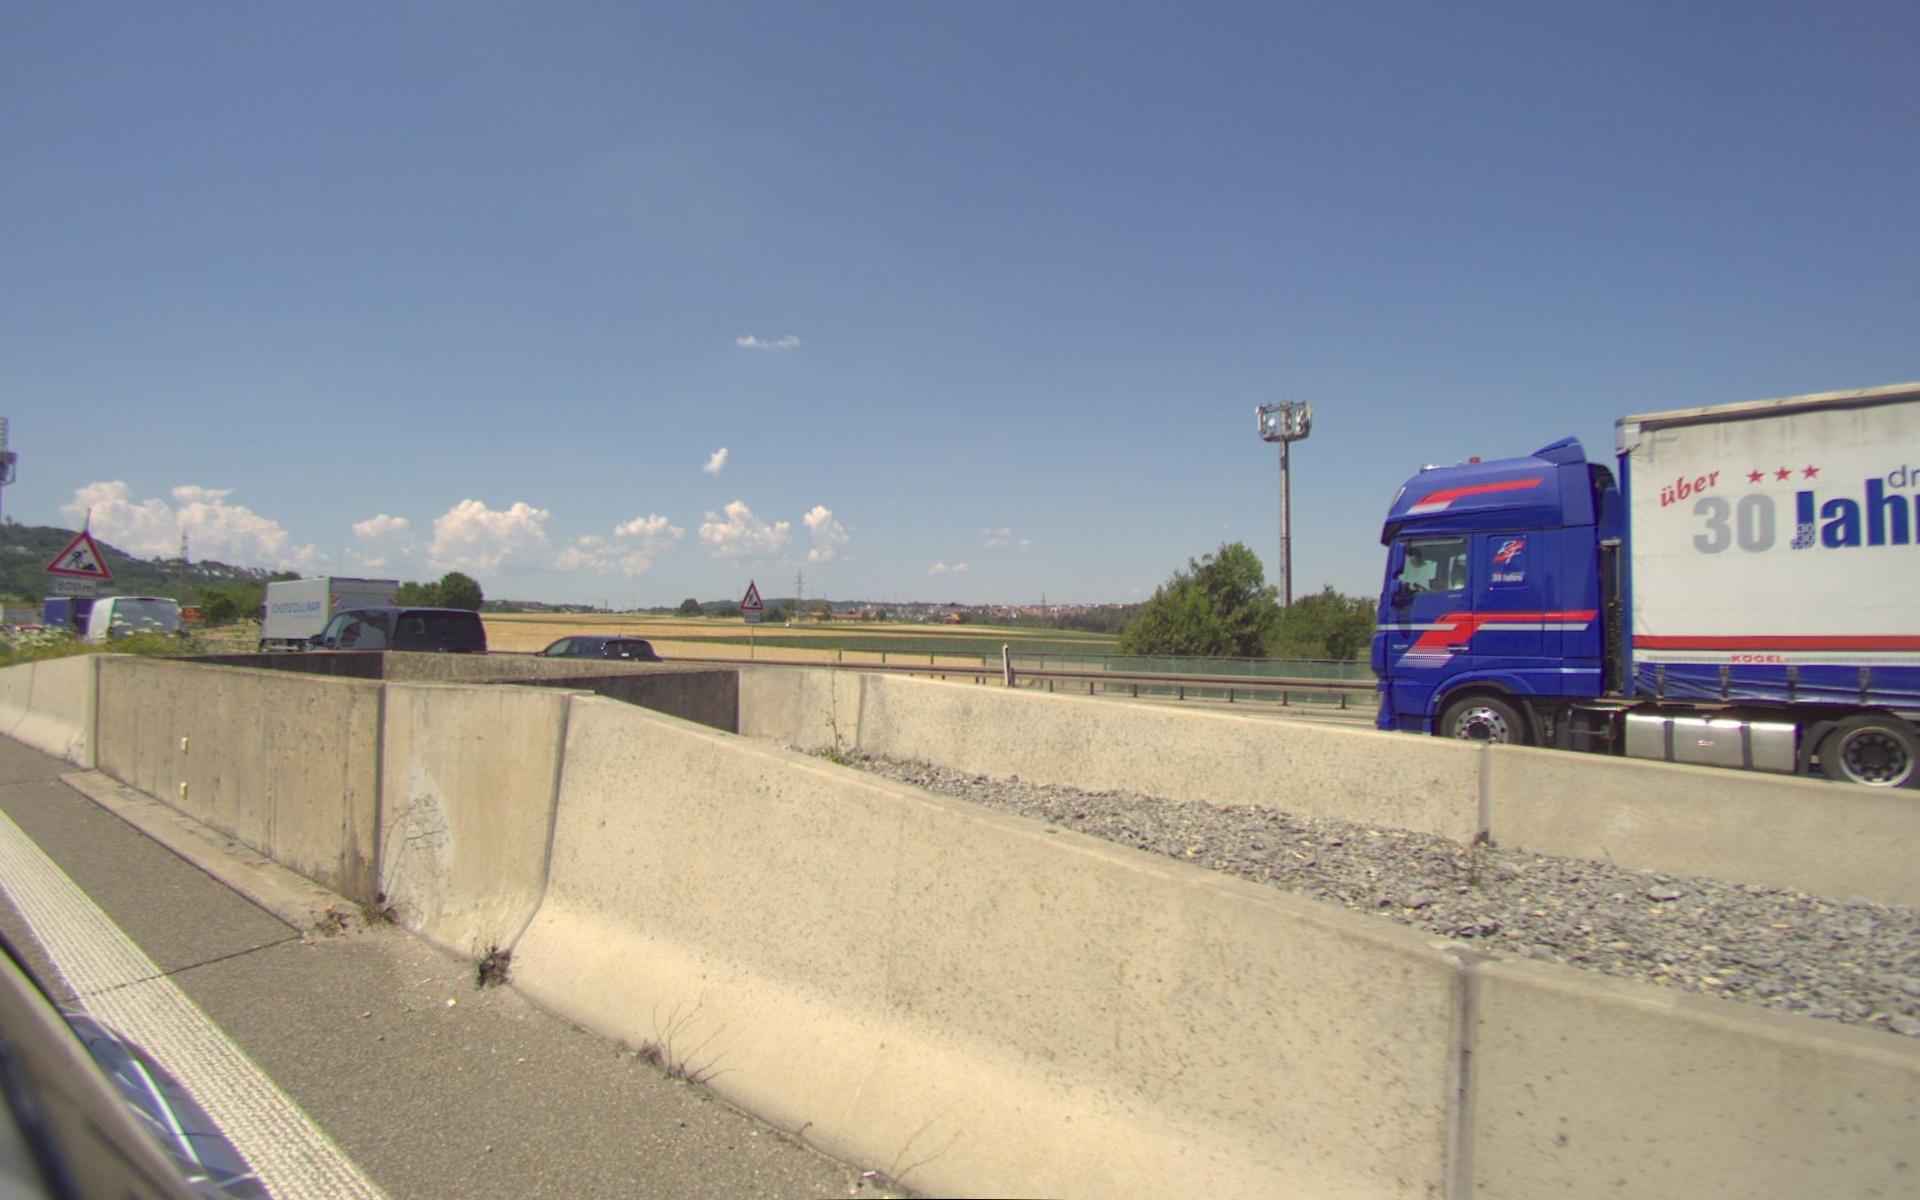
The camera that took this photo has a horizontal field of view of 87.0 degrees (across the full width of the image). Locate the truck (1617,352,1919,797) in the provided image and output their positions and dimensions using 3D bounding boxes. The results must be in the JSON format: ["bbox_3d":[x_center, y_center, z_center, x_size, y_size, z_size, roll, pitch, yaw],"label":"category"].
[{"bbox_3d":[13.483,-0.266,7.599,14.115,4.271,2.565,-1,-4,41],"label":"truck"}]

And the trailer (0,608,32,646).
[{"bbox_3d":[-110.817,3.144,117.619,14.122,4.160,2.780,-2,-3,41],"label":"trailer"}]

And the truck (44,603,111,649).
[{"bbox_3d":[-75.149,2.247,86.089,9.987,3.636,2.944,-2,-2,41],"label":"truck"}]

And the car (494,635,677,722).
[{"bbox_3d":[-7.963,1.567,21.384,4.092,1.667,1.869,-2,-3,40],"label":"car"}]

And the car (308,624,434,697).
[{"bbox_3d":[-16.161,1.596,27.695,3.999,1.811,1.875,-2,-1,43],"label":"car"}]

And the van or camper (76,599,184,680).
[{"bbox_3d":[-28.882,1.349,35.170,4.395,2.649,2.126,-1,-2,41],"label":"van or camper"}]

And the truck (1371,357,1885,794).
[{"bbox_3d":[7.961,-0.145,12.440,4.851,4.271,2.565,-1,-5,41],"label":"truck"}]

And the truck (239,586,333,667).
[{"bbox_3d":[-31.384,1.276,47.109,3.999,3.615,2.669,-2,-4,42],"label":"truck"}]

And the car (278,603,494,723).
[{"bbox_3d":[-10.727,1.088,18.765,4.792,1.961,1.973,-1,-2,41],"label":"car"}]

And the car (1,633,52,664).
[{"bbox_3d":[-49.686,2.531,53.849,3.702,1.582,1.543,-2,-2,40],"label":"car"}]

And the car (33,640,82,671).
[{"bbox_3d":[-59.560,3.632,66.755,4.459,1.937,1.972,-2,-1,42],"label":"car"}]

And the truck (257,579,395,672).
[{"bbox_3d":[-27.293,1.142,43.356,8.785,3.648,2.670,-2,-4,42],"label":"truck"}]
